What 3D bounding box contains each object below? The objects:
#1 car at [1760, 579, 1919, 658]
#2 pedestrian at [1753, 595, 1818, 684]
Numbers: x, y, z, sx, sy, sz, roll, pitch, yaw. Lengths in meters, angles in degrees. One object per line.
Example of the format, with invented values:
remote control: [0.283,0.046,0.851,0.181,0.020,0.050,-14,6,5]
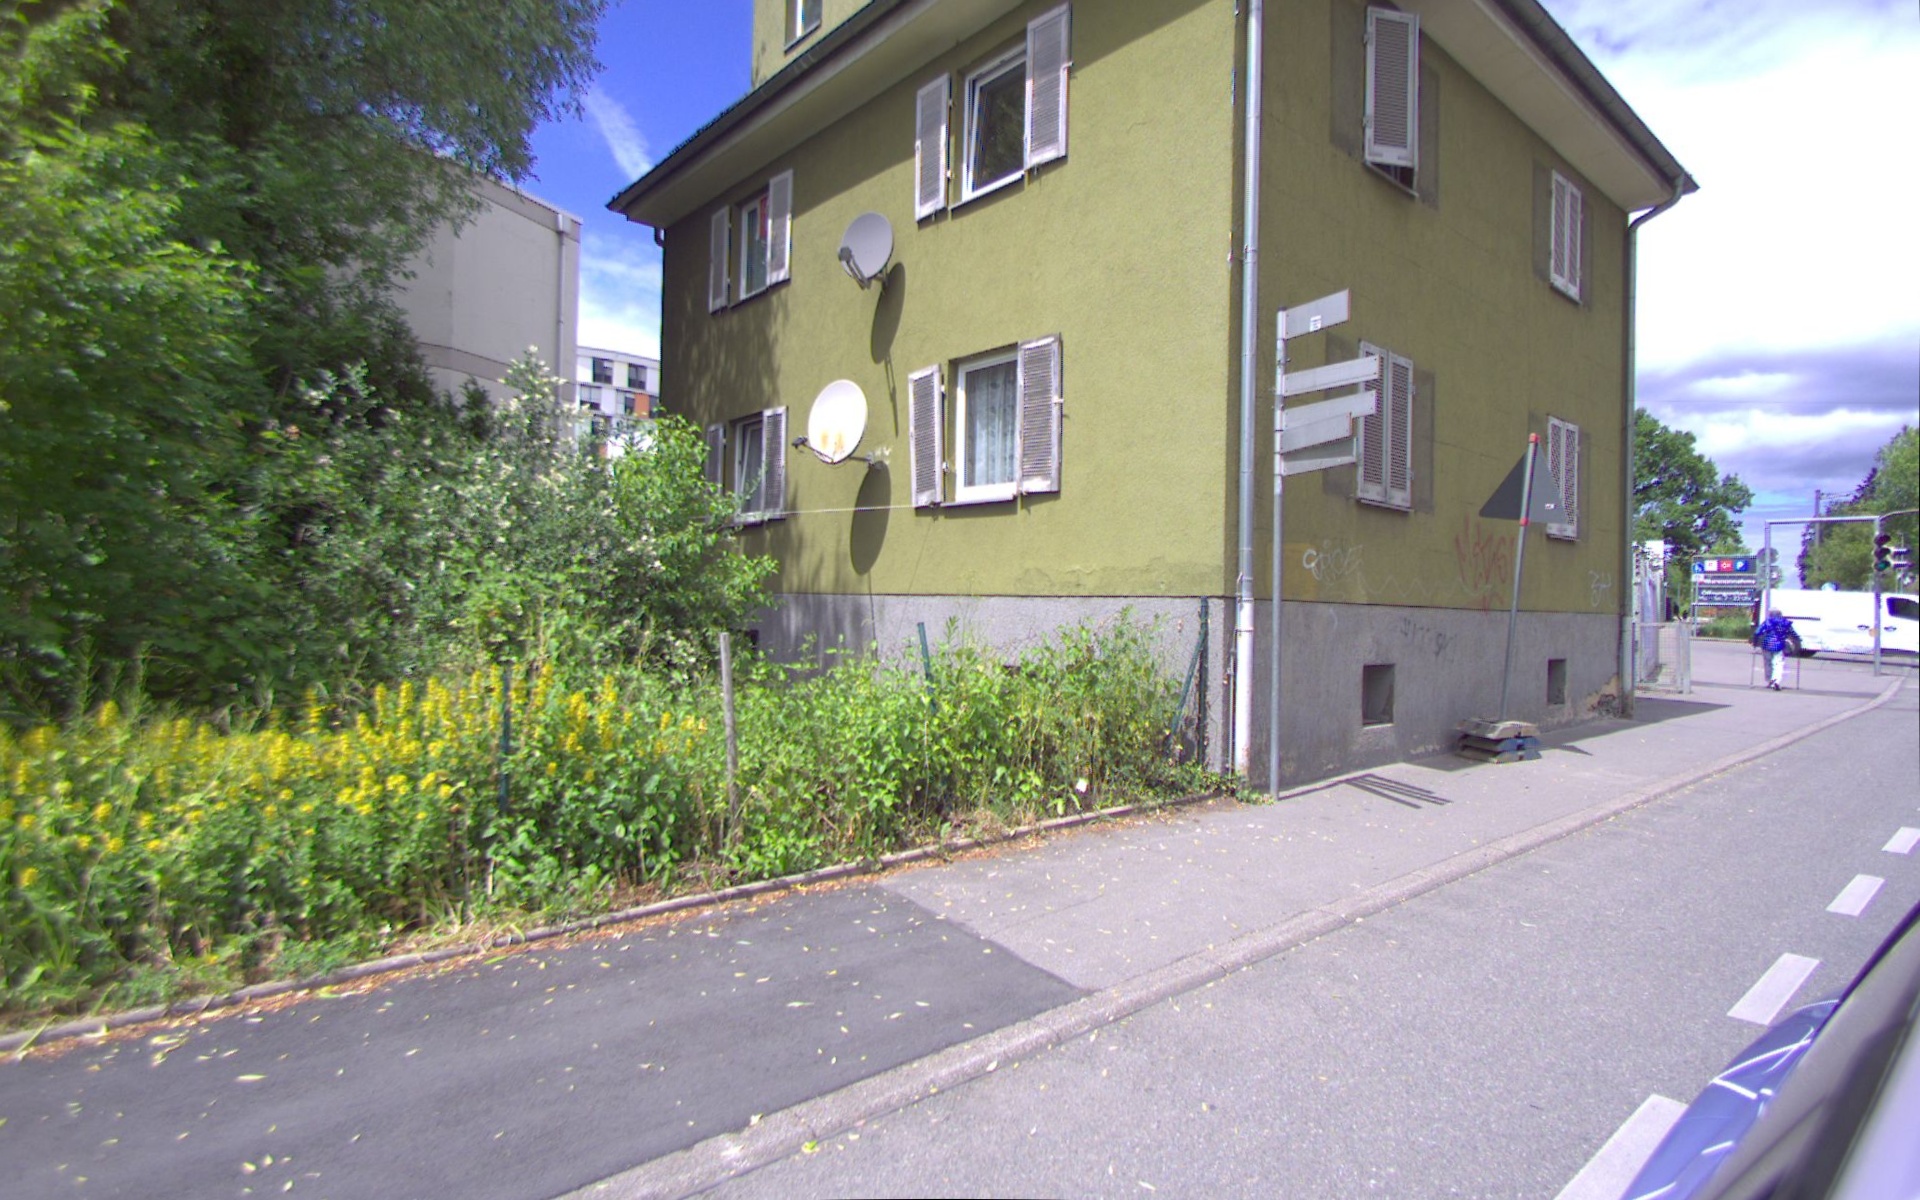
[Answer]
car: [25.600,0.498,27.811,1.962,2.048,5.352,1,1,-35]
pedestrian: [15.351,0.709,18.817,0.824,1.592,0.972,2,1,44]
